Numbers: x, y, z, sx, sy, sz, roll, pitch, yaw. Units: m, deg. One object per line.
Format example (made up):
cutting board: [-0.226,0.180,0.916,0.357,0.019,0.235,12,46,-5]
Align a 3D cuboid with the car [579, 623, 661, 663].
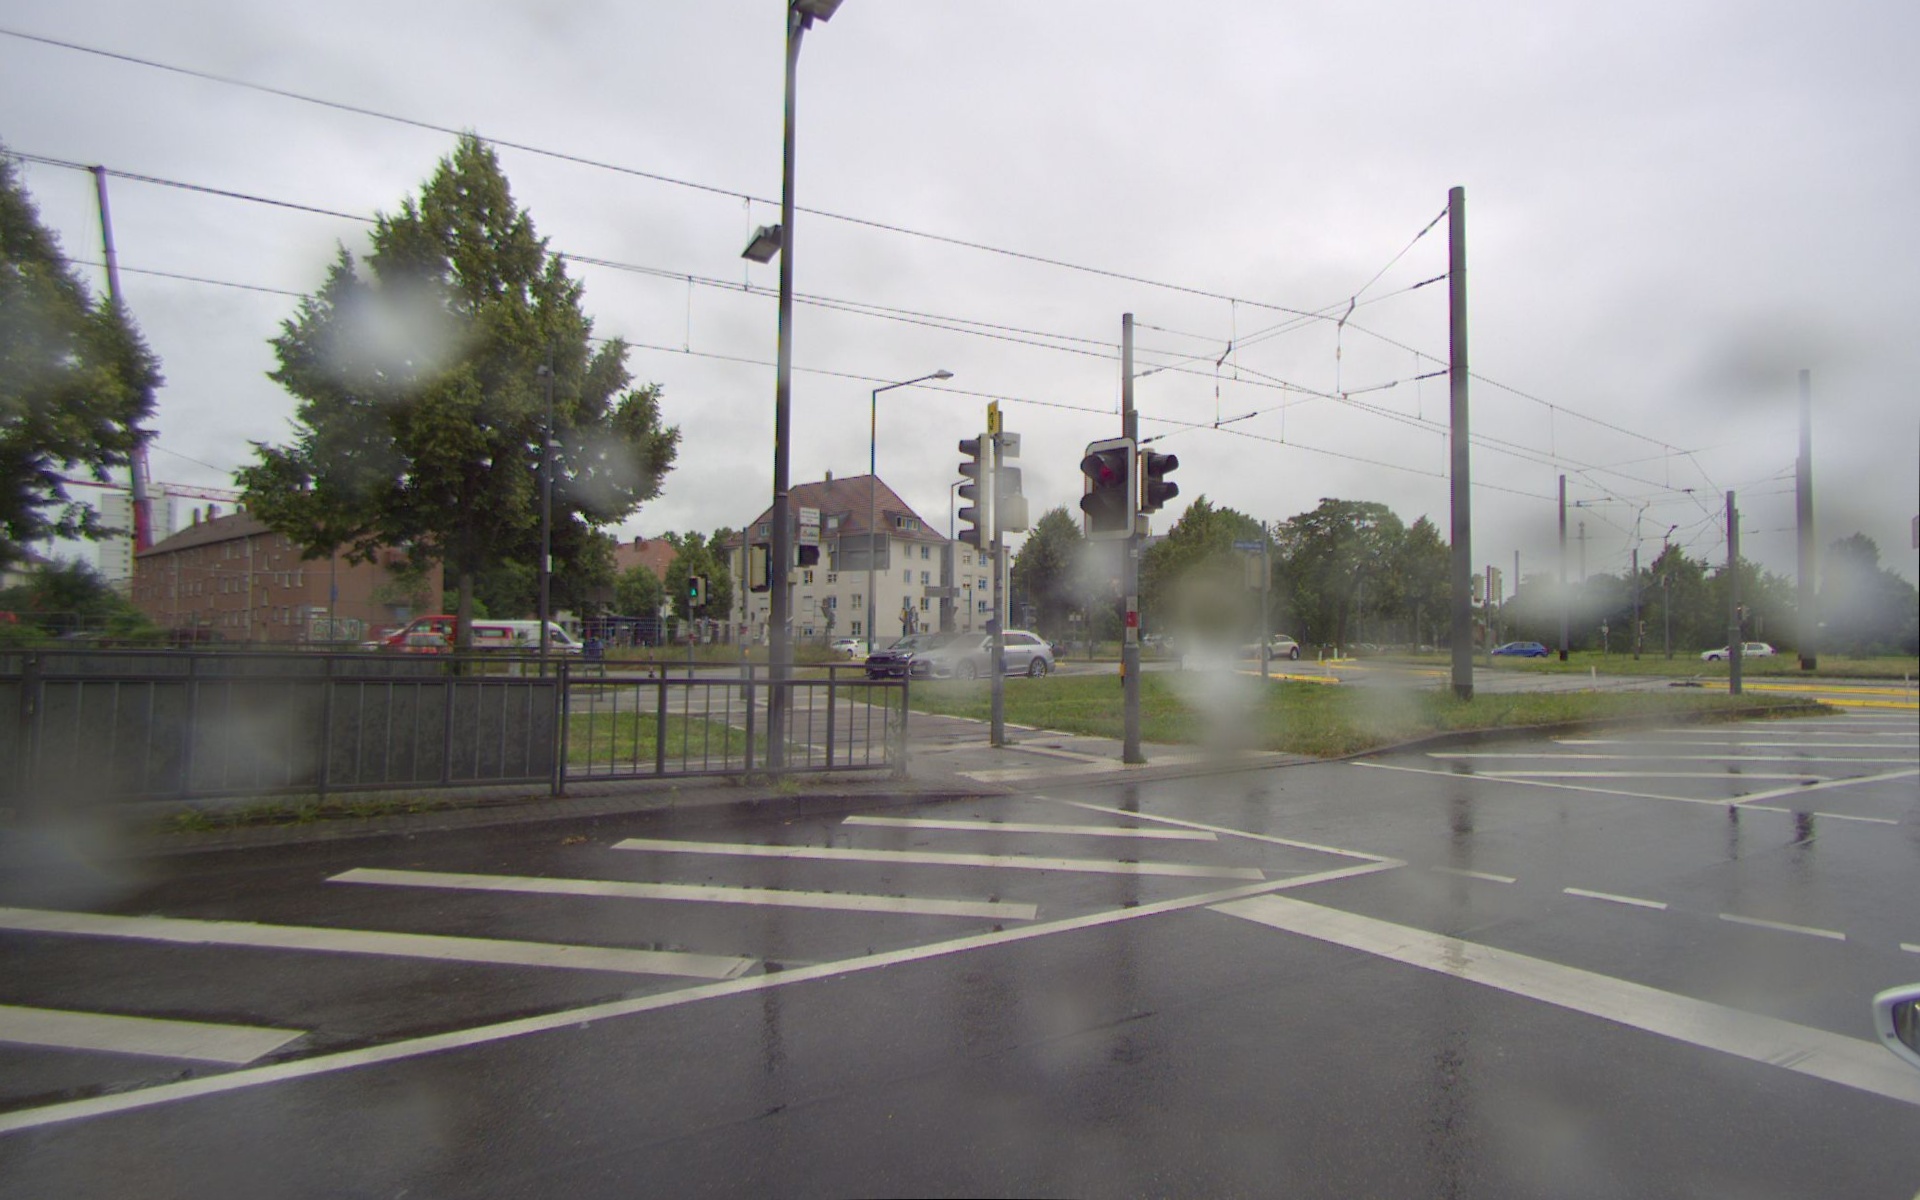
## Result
car: [-34.862,4.323,102.720,10.793,3.770,2.447,0,-2,39]

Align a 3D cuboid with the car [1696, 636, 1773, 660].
car: [50.939,3.121,66.108,3.928,1.473,1.616,-1,-2,40]

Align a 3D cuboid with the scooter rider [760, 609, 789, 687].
scooter rider: [-4.180,1.077,22.668,0.431,1.731,0.526,2,-4,-43]

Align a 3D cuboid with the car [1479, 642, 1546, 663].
car: [40.153,3.826,73.086,3.906,1.473,1.625,0,-2,12]

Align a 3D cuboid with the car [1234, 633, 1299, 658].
car: [18.319,2.714,59.985,4.071,1.473,1.608,2,-2,-35]

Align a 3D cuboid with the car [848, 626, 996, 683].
car: [-1.126,1.654,31.140,4.371,1.649,1.975,2,-2,-42]

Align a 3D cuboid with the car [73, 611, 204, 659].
car: [-45.401,1.939,55.697,5.441,2.485,1.980,3,0,-36]

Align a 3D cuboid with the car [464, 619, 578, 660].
car: [-25.940,2.342,59.615,6.004,2.308,1.617,1,-2,-18]

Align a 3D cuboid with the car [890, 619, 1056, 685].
car: [0.415,1.373,27.407,4.371,1.649,1.975,2,-2,-42]

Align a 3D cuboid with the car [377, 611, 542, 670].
car: [-22.267,1.813,44.987,6.389,2.502,1.616,1,-2,-20]

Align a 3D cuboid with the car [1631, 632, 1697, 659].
car: [54.606,3.533,77.972,3.921,1.840,1.681,2,0,-1]

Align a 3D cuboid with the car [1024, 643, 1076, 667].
car: [6.526,3.968,72.735,3.413,1.563,1.623,2,0,17]

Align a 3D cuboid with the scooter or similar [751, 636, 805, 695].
scooter or similar: [-4.106,1.454,22.589,0.444,1.276,1.571,1,-3,-42]

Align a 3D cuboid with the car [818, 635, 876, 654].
car: [-8.962,3.514,79.842,4.541,1.473,1.620,-1,-2,31]
